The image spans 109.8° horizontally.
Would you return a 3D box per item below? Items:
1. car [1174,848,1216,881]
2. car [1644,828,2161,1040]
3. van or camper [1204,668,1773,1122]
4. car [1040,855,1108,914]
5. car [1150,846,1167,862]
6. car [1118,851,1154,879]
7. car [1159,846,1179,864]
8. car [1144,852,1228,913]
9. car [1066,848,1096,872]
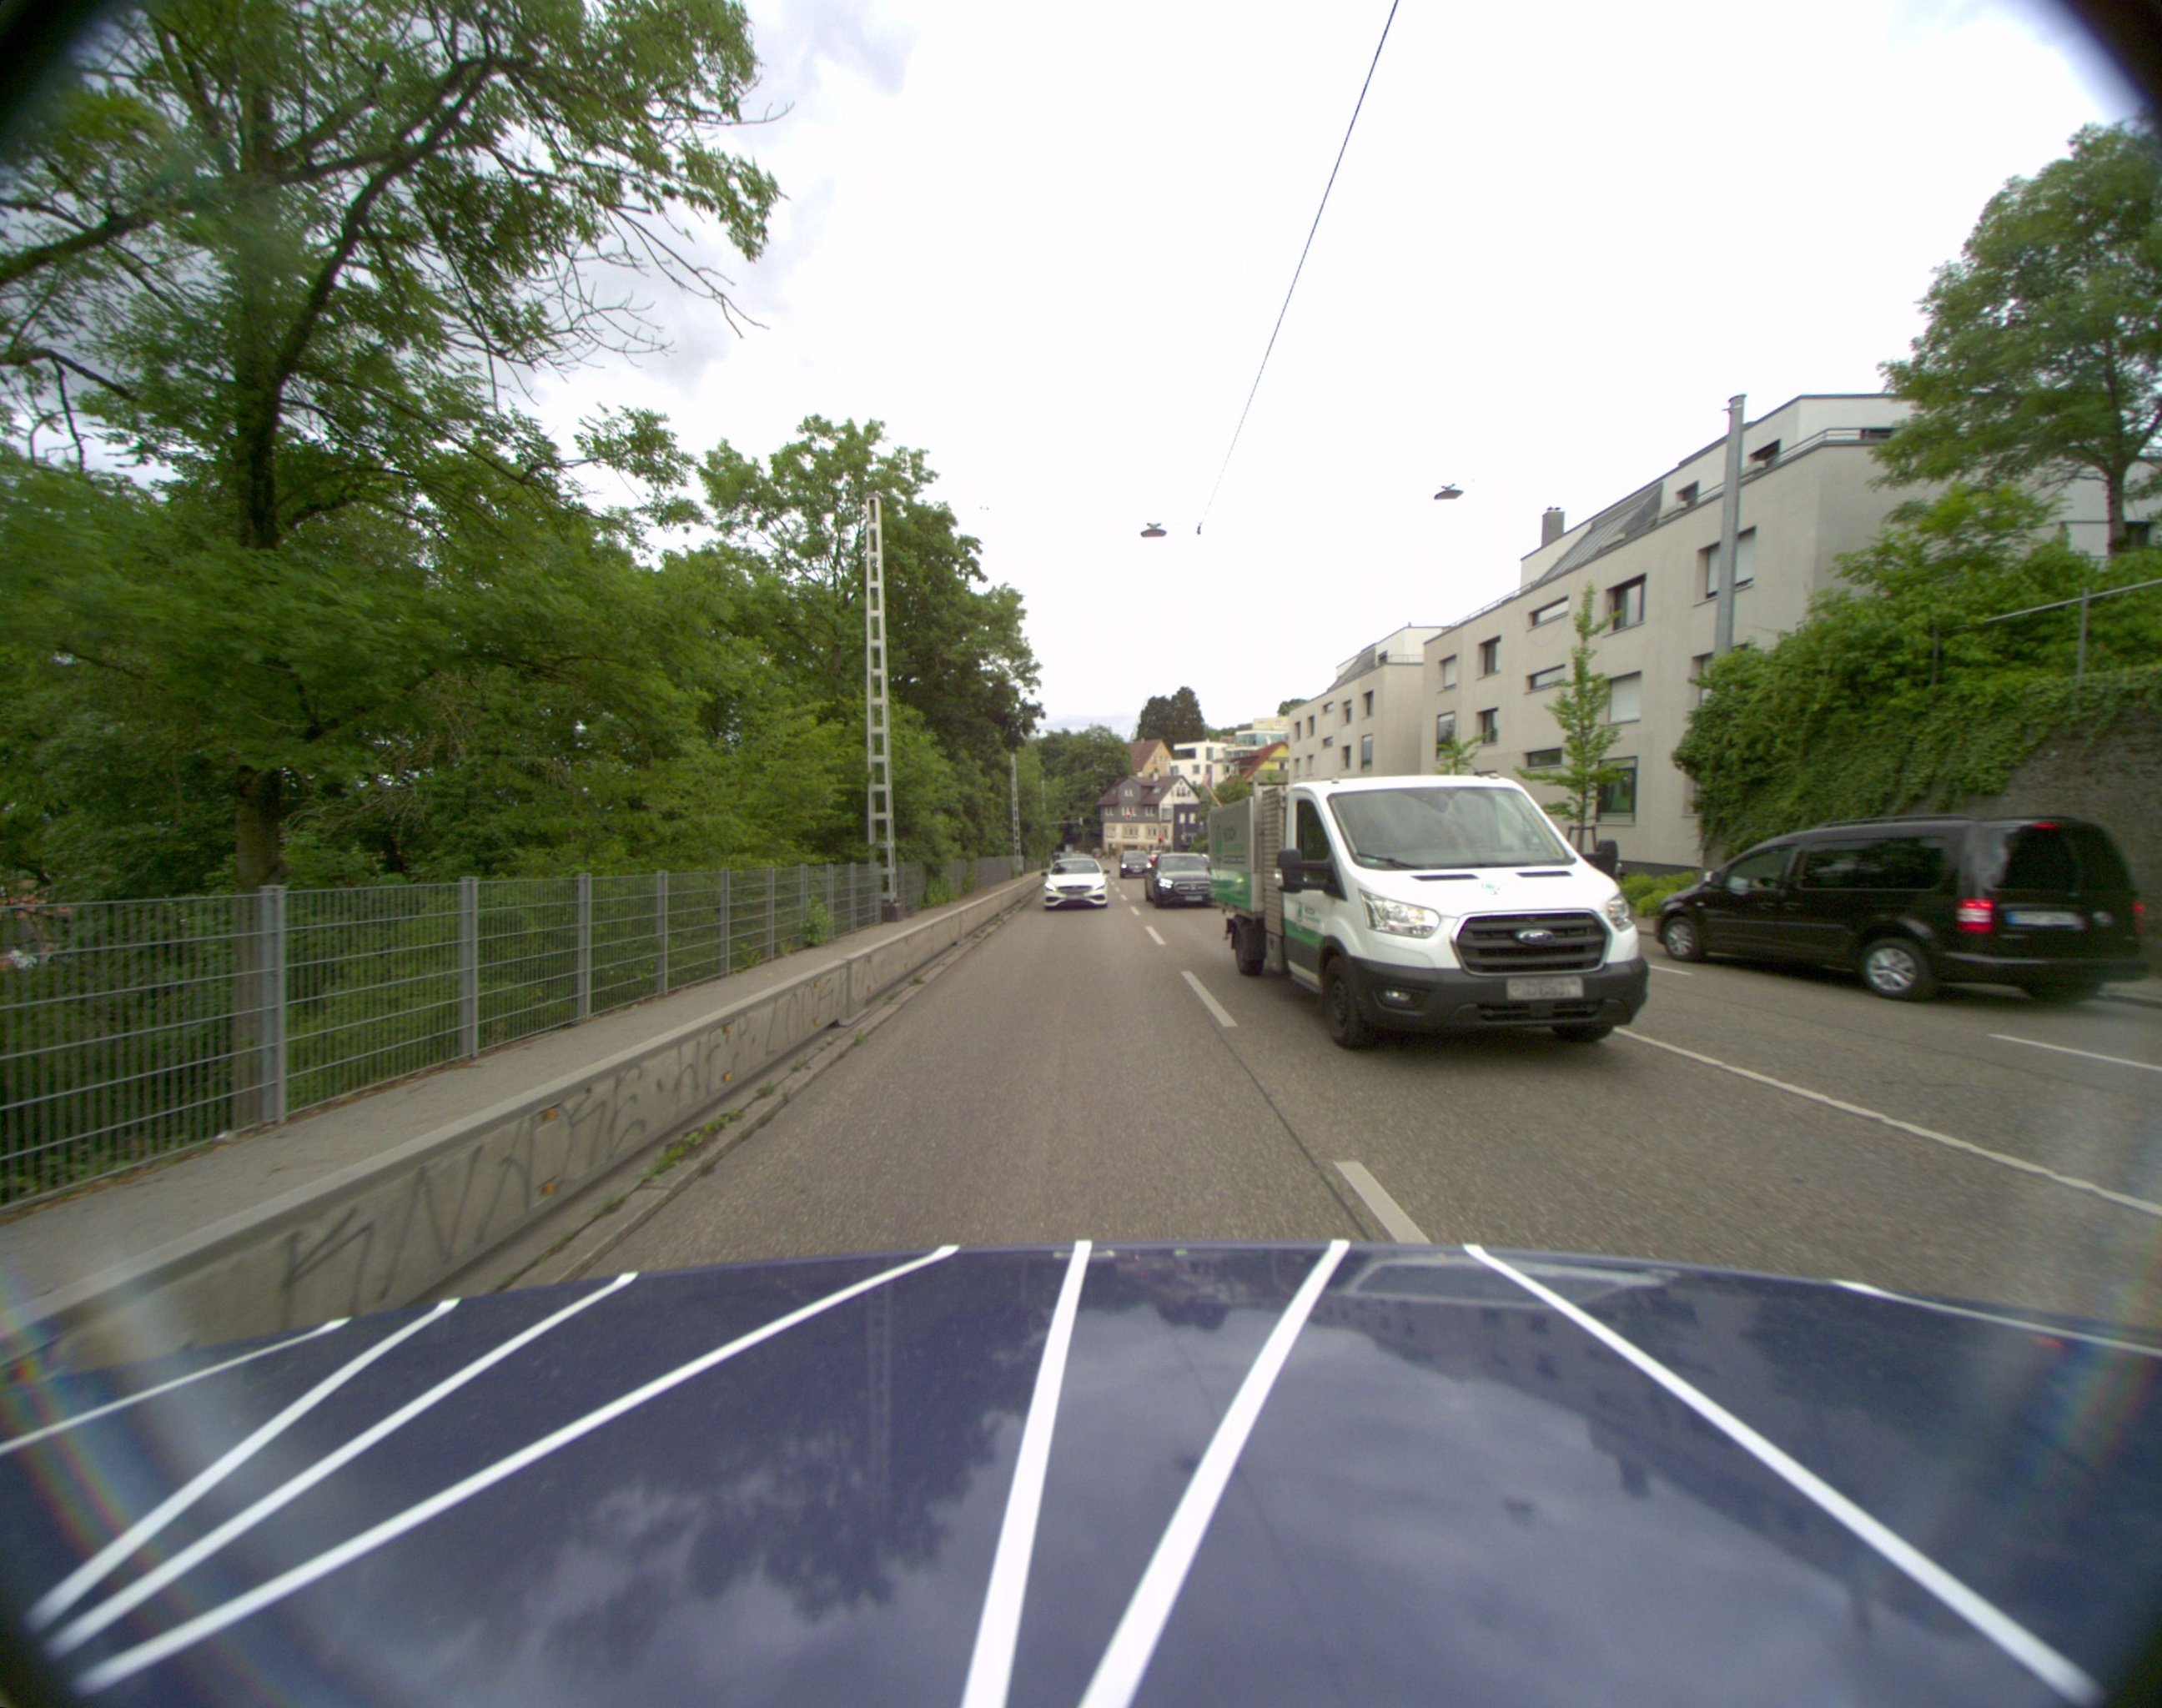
[{"bbox_3d":[6.130,0.549,41.121,1.709,1.702,3.868,-1,0,1],"label":"car"},{"bbox_3d":[8.977,0.678,8.756,1.836,1.831,4.207,1,1,1],"label":"car"},{"bbox_3d":[2.942,0.234,7.542,2.349,2.646,5.964,-2,0,-1],"label":"van or camper"},{"bbox_3d":[-0.147,0.824,22.533,1.809,1.521,4.000,-2,1,1],"label":"car"},{"bbox_3d":[9.275,-0.024,91.110,1.743,1.873,3.743,0,0,1],"label":"car"},{"bbox_3d":[3.242,0.618,45.396,1.878,1.521,4.000,-1,1,1],"label":"car"},{"bbox_3d":[9.314,0.137,80.614,1.743,1.873,3.743,0,0,1],"label":"car"},{"bbox_3d":[2.887,0.732,21.744,1.878,1.521,4.335,-1,1,1],"label":"car"},{"bbox_3d":[0.056,0.382,50.587,1.878,1.521,4.000,-1,1,1],"label":"car"}]
